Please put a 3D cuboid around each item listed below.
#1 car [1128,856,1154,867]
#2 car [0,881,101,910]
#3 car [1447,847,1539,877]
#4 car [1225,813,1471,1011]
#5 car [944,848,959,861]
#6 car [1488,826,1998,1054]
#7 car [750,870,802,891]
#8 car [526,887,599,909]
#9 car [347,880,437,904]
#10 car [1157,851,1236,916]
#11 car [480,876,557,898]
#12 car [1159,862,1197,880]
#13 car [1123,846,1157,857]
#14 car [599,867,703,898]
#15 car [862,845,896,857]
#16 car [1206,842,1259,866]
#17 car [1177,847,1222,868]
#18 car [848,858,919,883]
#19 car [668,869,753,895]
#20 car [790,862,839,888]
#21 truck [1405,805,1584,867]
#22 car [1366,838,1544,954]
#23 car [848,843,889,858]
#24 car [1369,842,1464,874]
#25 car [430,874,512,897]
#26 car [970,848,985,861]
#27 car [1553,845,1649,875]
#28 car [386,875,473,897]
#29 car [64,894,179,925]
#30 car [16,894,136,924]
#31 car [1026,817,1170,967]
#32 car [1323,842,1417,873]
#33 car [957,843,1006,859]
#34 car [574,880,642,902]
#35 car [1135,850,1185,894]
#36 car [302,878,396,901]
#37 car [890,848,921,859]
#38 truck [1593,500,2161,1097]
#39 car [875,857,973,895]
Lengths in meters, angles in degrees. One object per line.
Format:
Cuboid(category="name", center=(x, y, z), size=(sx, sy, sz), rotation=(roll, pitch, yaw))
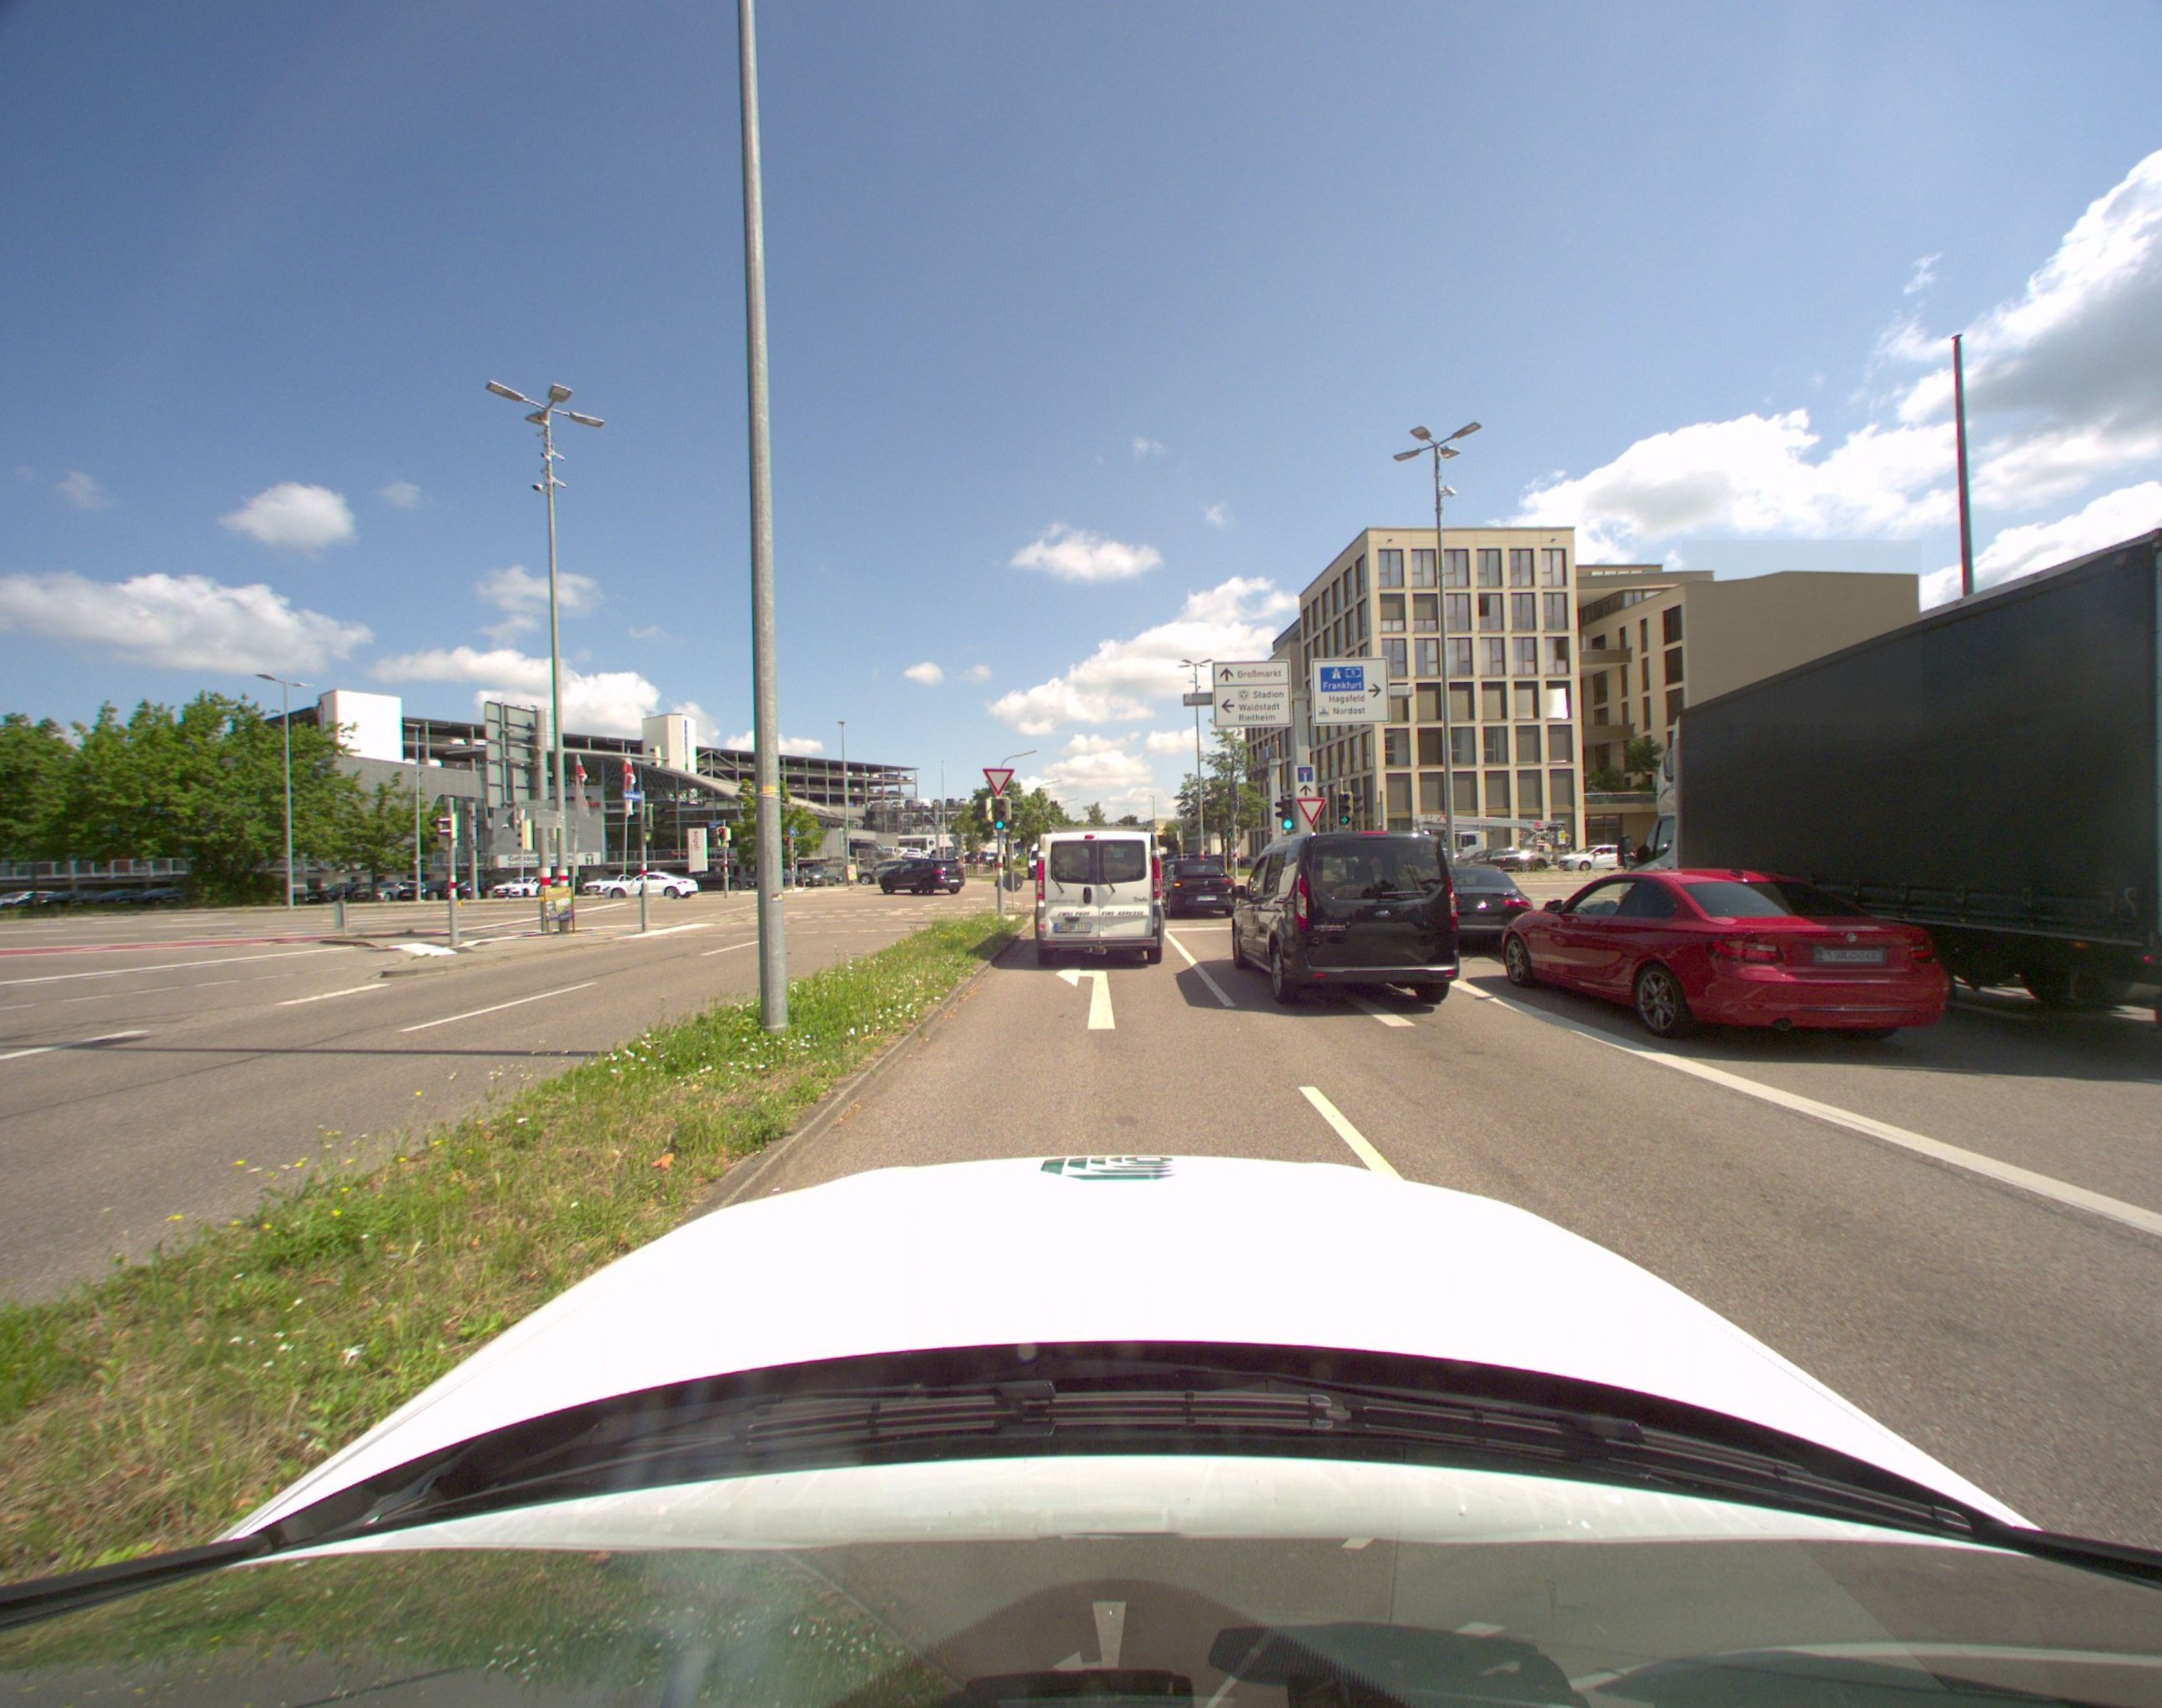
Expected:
Cuboid(category="car", center=(9.589, 1.181, 130.857), size=(3.980, 1.750, 1.997), rotation=(0, -1, -5))
Cuboid(category="car", center=(-65.078, 2.584, 51.024), size=(1.897, 1.678, 4.584), rotation=(0, -1, -3))
Cuboid(category="car", center=(22.813, 0.458, 45.231), size=(4.184, 1.627, 1.828), rotation=(0, -1, 0))
Cuboid(category="car", center=(2.944, 0.583, 9.921), size=(1.816, 1.905, 4.002), rotation=(-1, -1, 2))
Cuboid(category="car", center=(-16.301, 0.084, 102.562), size=(1.558, 1.552, 3.597), rotation=(0, -1, -3))
Cuboid(category="car", center=(5.897, 0.684, 8.097), size=(1.850, 1.656, 4.224), rotation=(-1, -1, 5))
Cuboid(category="car", center=(-19.997, 1.732, 53.572), size=(1.897, 1.297, 4.584), rotation=(0, -1, -3))
Cuboid(category="car", center=(-33.323, 2.796, 52.470), size=(1.897, 1.297, 4.584), rotation=(0, -1, -3))
Cuboid(category="car", center=(-43.672, 2.451, 51.773), size=(1.897, 1.405, 4.583), rotation=(0, -4, -3))
Cuboid(category="car", center=(3.111, 0.767, 22.566), size=(1.767, 1.629, 4.002), rotation=(-1, -1, 2))
Cuboid(category="car", center=(-35.939, 2.108, 52.209), size=(1.897, 1.297, 4.584), rotation=(0, -1, -3))
Cuboid(category="car", center=(10.876, 1.937, 91.442), size=(3.983, 2.014, 1.995), rotation=(0, -1, -7))
Cuboid(category="car", center=(11.184, -0.381, 156.018), size=(6.321, 2.014, 2.572), rotation=(0, -1, -1))
Cuboid(category="car", center=(-20.828, 1.383, 39.576), size=(3.978, 1.442, 1.859), rotation=(0, -1, -3))
Cuboid(category="car", center=(-25.411, -0.367, 102.449), size=(3.988, 1.552, 1.758), rotation=(0, -1, -11))
Cuboid(category="car", center=(12.863, 0.004, 69.288), size=(3.983, 2.014, 1.995), rotation=(0, -1, -7))
Cuboid(category="car", center=(11.550, 0.317, 79.369), size=(3.983, 2.014, 1.995), rotation=(0, -1, -7))
Cuboid(category="car", center=(-14.021, 1.166, 57.945), size=(4.562, 1.678, 1.906), rotation=(0, -1, -2))
Cuboid(category="car", center=(-24.284, 1.861, 53.507), size=(4.731, 1.464, 1.793), rotation=(-2, -3, -4))
Cuboid(category="car", center=(-17.509, 1.374, 53.651), size=(1.897, 1.678, 4.584), rotation=(0, -1, -3))
Cuboid(category="truck", center=(24.816, -1.036, 49.027), size=(9.738, 3.555, 2.669), rotation=(0, -1, -6))
Cuboid(category="car", center=(6.339, 0.665, 14.338), size=(1.847, 1.655, 4.232), rotation=(-4, -1, 11))
Cuboid(category="car", center=(-25.344, -0.389, 97.309), size=(4.433, 1.801, 1.762), rotation=(0, -1, -5))
Cuboid(category="car", center=(17.217, 0.205, 41.921), size=(4.193, 1.627, 1.824), rotation=(0, -1, -6))
Cuboid(category="car", center=(-38.820, 2.046, 51.989), size=(1.897, 1.298, 4.583), rotation=(0, -4, -3))
Cuboid(category="car", center=(-12.934, 0.073, 101.924), size=(1.558, 1.552, 3.597), rotation=(0, -1, -3))
Cuboid(category="car", center=(28.977, 0.321, 45.462), size=(4.187, 1.627, 1.826), rotation=(0, -1, -2))
Cuboid(category="car", center=(-41.325, 2.058, 51.808), size=(1.897, 1.384, 4.583), rotation=(0, -3, -3))
Cuboid(category="car", center=(-60.222, 3.441, 51.242), size=(1.897, 1.678, 4.584), rotation=(0, -1, -3))
Cuboid(category="car", center=(-63.022, 3.420, 51.205), size=(1.897, 1.678, 4.584), rotation=(0, -1, -3))
Cuboid(category="car", center=(0.295, 0.553, 13.587), size=(1.966, 2.060, 4.565), rotation=(-1, -1, 1))
Cuboid(category="car", center=(17.196, 0.224, 48.567), size=(4.970, 1.838, 1.996), rotation=(0, -1, -6))
Cuboid(category="car", center=(-13.380, -0.354, 109.491), size=(6.374, 2.102, 1.762), rotation=(0, -1, -4))
Cuboid(category="car", center=(-30.570, 2.381, 52.762), size=(1.897, 1.297, 4.584), rotation=(0, -1, -3))
Cuboid(category="car", center=(3.093, 0.707, 32.661), size=(1.767, 1.629, 4.002), rotation=(-1, -1, 2))
Cuboid(category="car", center=(-46.206, 2.227, 51.555), size=(1.897, 1.405, 4.584), rotation=(0, -2, -3))
Cuboid(category="car", center=(-23.644, -0.070, 109.715), size=(3.988, 1.552, 1.758), rotation=(0, -1, -11))
Cuboid(category="truck", center=(9.733, -0.310, 9.628), size=(3.191, 4.027, 9.098), rotation=(-1, -1, 12))
Cuboid(category="car", center=(-7.015, 0.962, 36.198), size=(4.213, 1.618, 1.788), rotation=(-1, -2, 34))
